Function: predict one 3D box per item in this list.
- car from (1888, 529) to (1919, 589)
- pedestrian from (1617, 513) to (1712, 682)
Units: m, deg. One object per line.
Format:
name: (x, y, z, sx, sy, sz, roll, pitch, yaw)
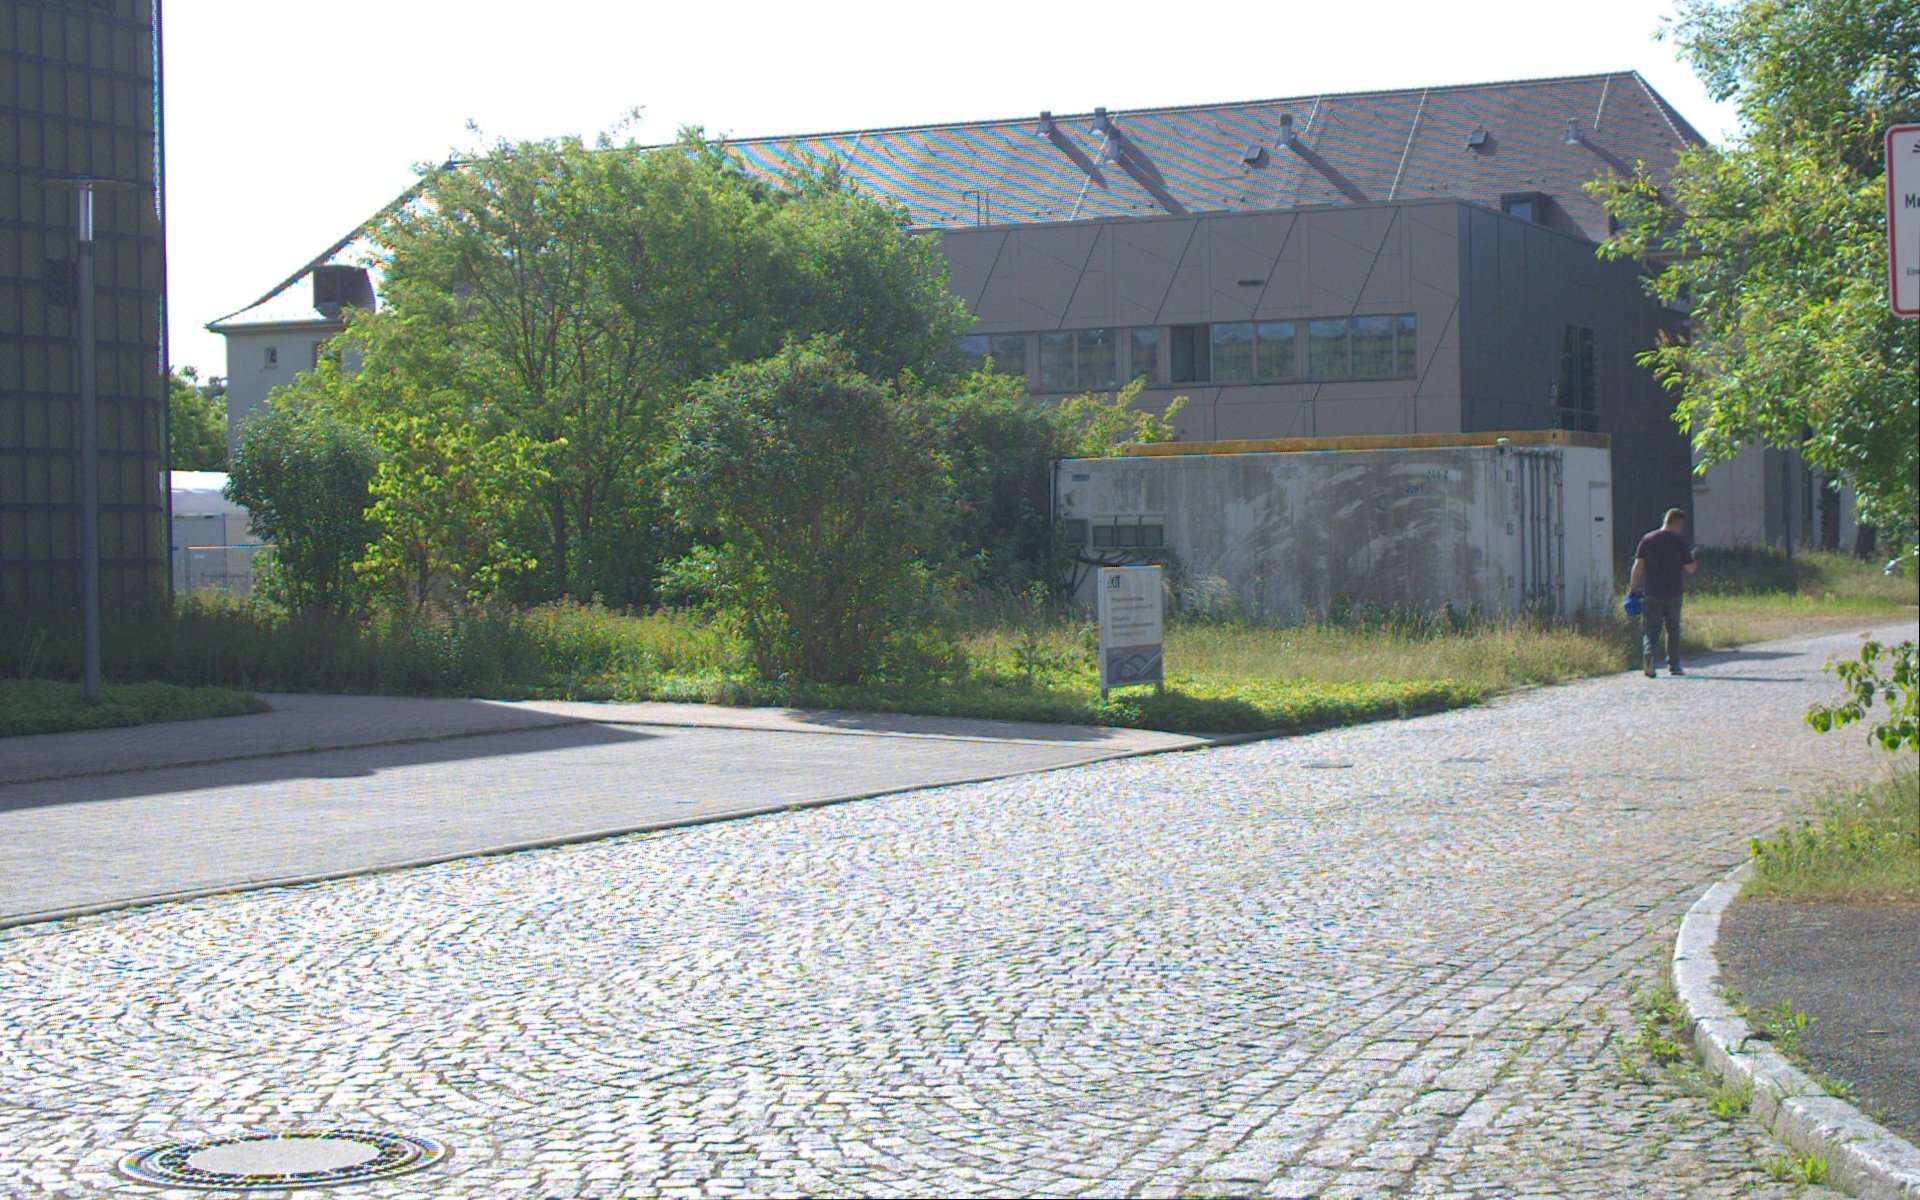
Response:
car: (24.496, -1.028, 83.003, 3.837, 1.436, 1.581, -1, 1, 22)
pedestrian: (7.551, -0.037, 36.841, 0.796, 1.774, 1.067, 1, 1, 23)
